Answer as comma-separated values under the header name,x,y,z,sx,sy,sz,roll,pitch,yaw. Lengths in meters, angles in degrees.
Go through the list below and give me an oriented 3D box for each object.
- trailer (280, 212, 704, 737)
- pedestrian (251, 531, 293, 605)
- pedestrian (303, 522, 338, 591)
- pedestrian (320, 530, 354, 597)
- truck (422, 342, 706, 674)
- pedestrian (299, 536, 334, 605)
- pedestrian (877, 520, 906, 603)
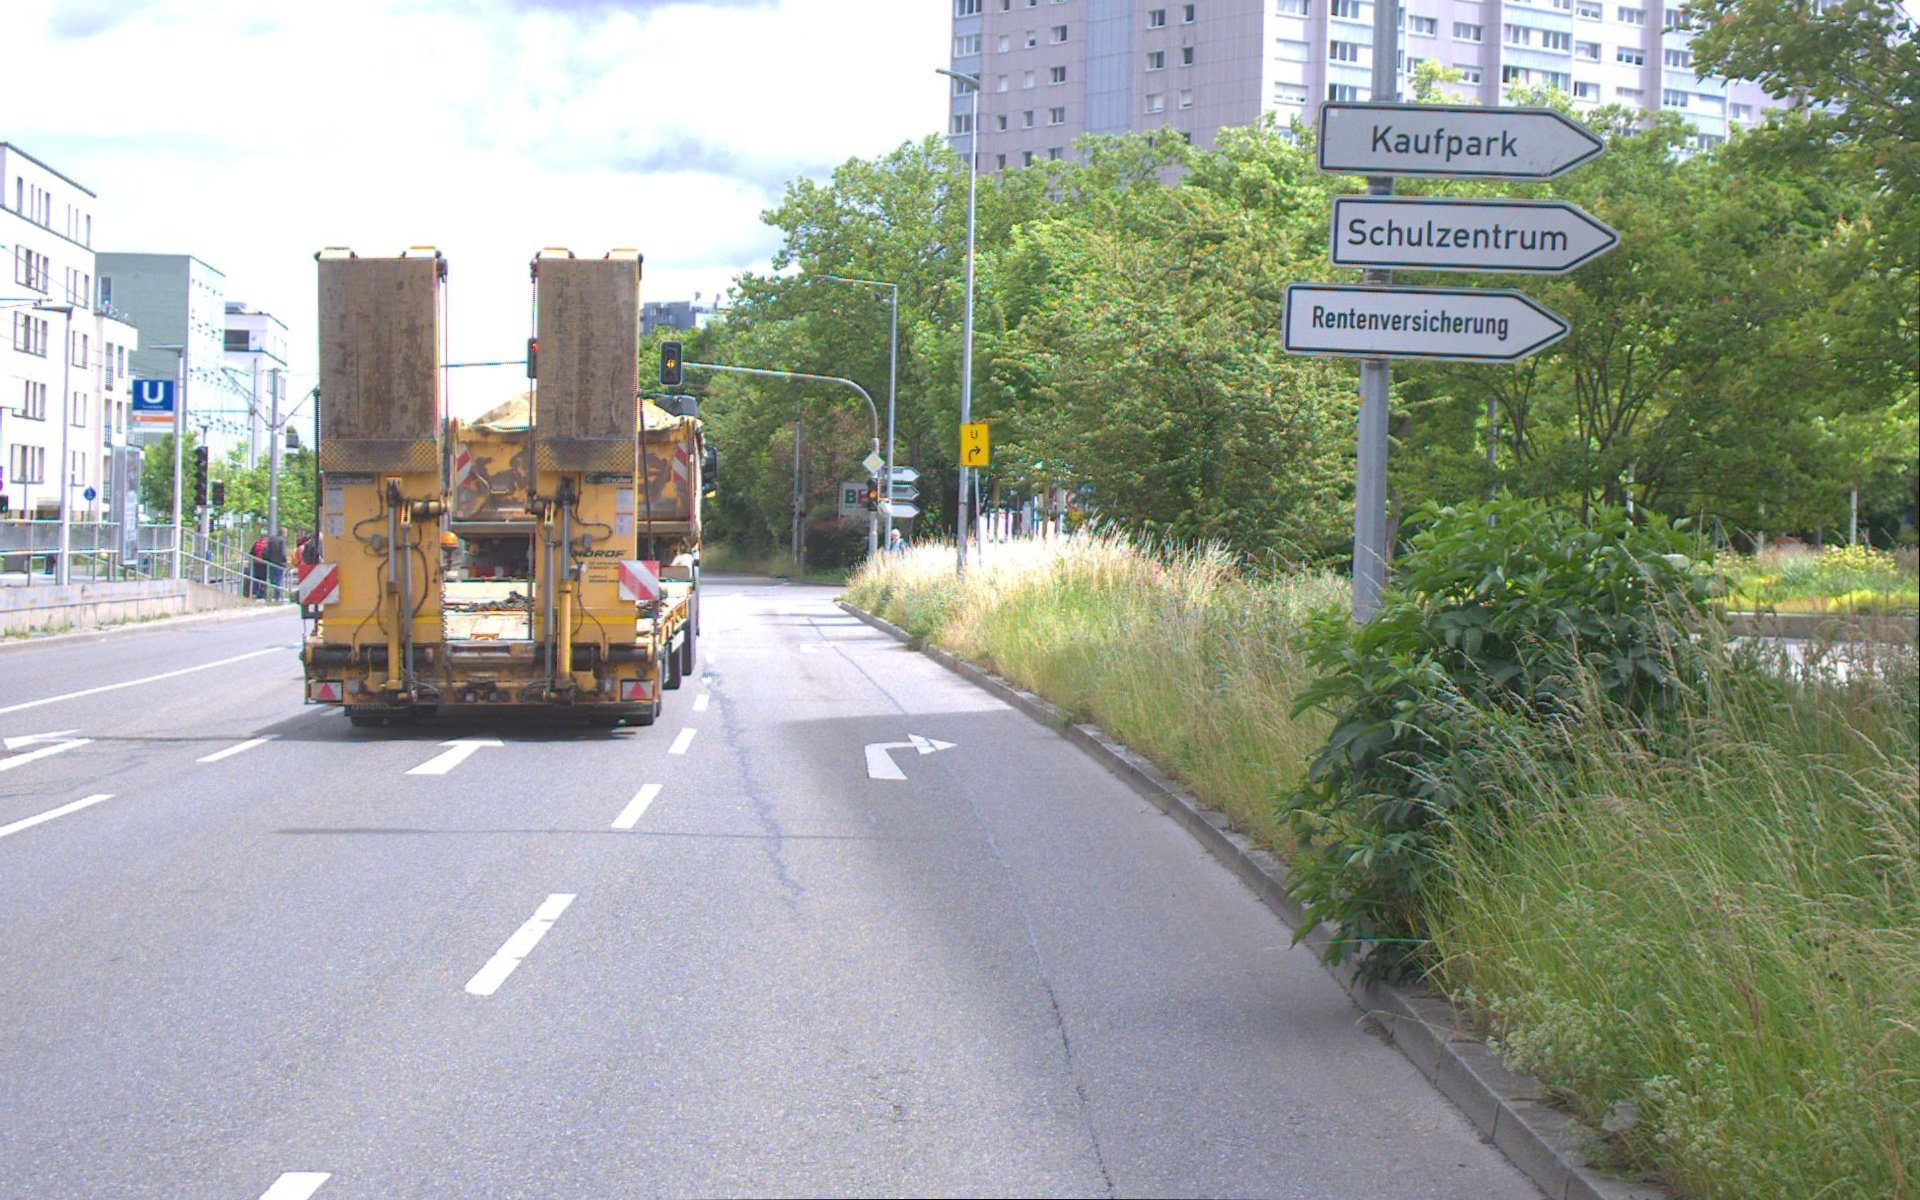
name,x,y,z,sx,sy,sz,roll,pitch,yaw
trailer,-3.644,-0.955,29.332,2.729,3.546,11.255,1,1,-4
pedestrian,-15.809,-0.736,79.006,0.820,1.663,0.683,1,1,-3
pedestrian,-15.068,-1.019,81.023,0.681,1.597,0.823,1,1,-5
pedestrian,-15.044,-0.891,83.006,0.681,1.597,0.823,1,1,-5
truck,-4.334,-1.002,39.142,2.753,3.302,8.353,1,1,-4
pedestrian,-15.009,-0.692,80.164,0.681,1.597,0.823,1,1,-5
pedestrian,-1.664,-0.932,83.237,0.561,2.007,0.492,1,0,-13
